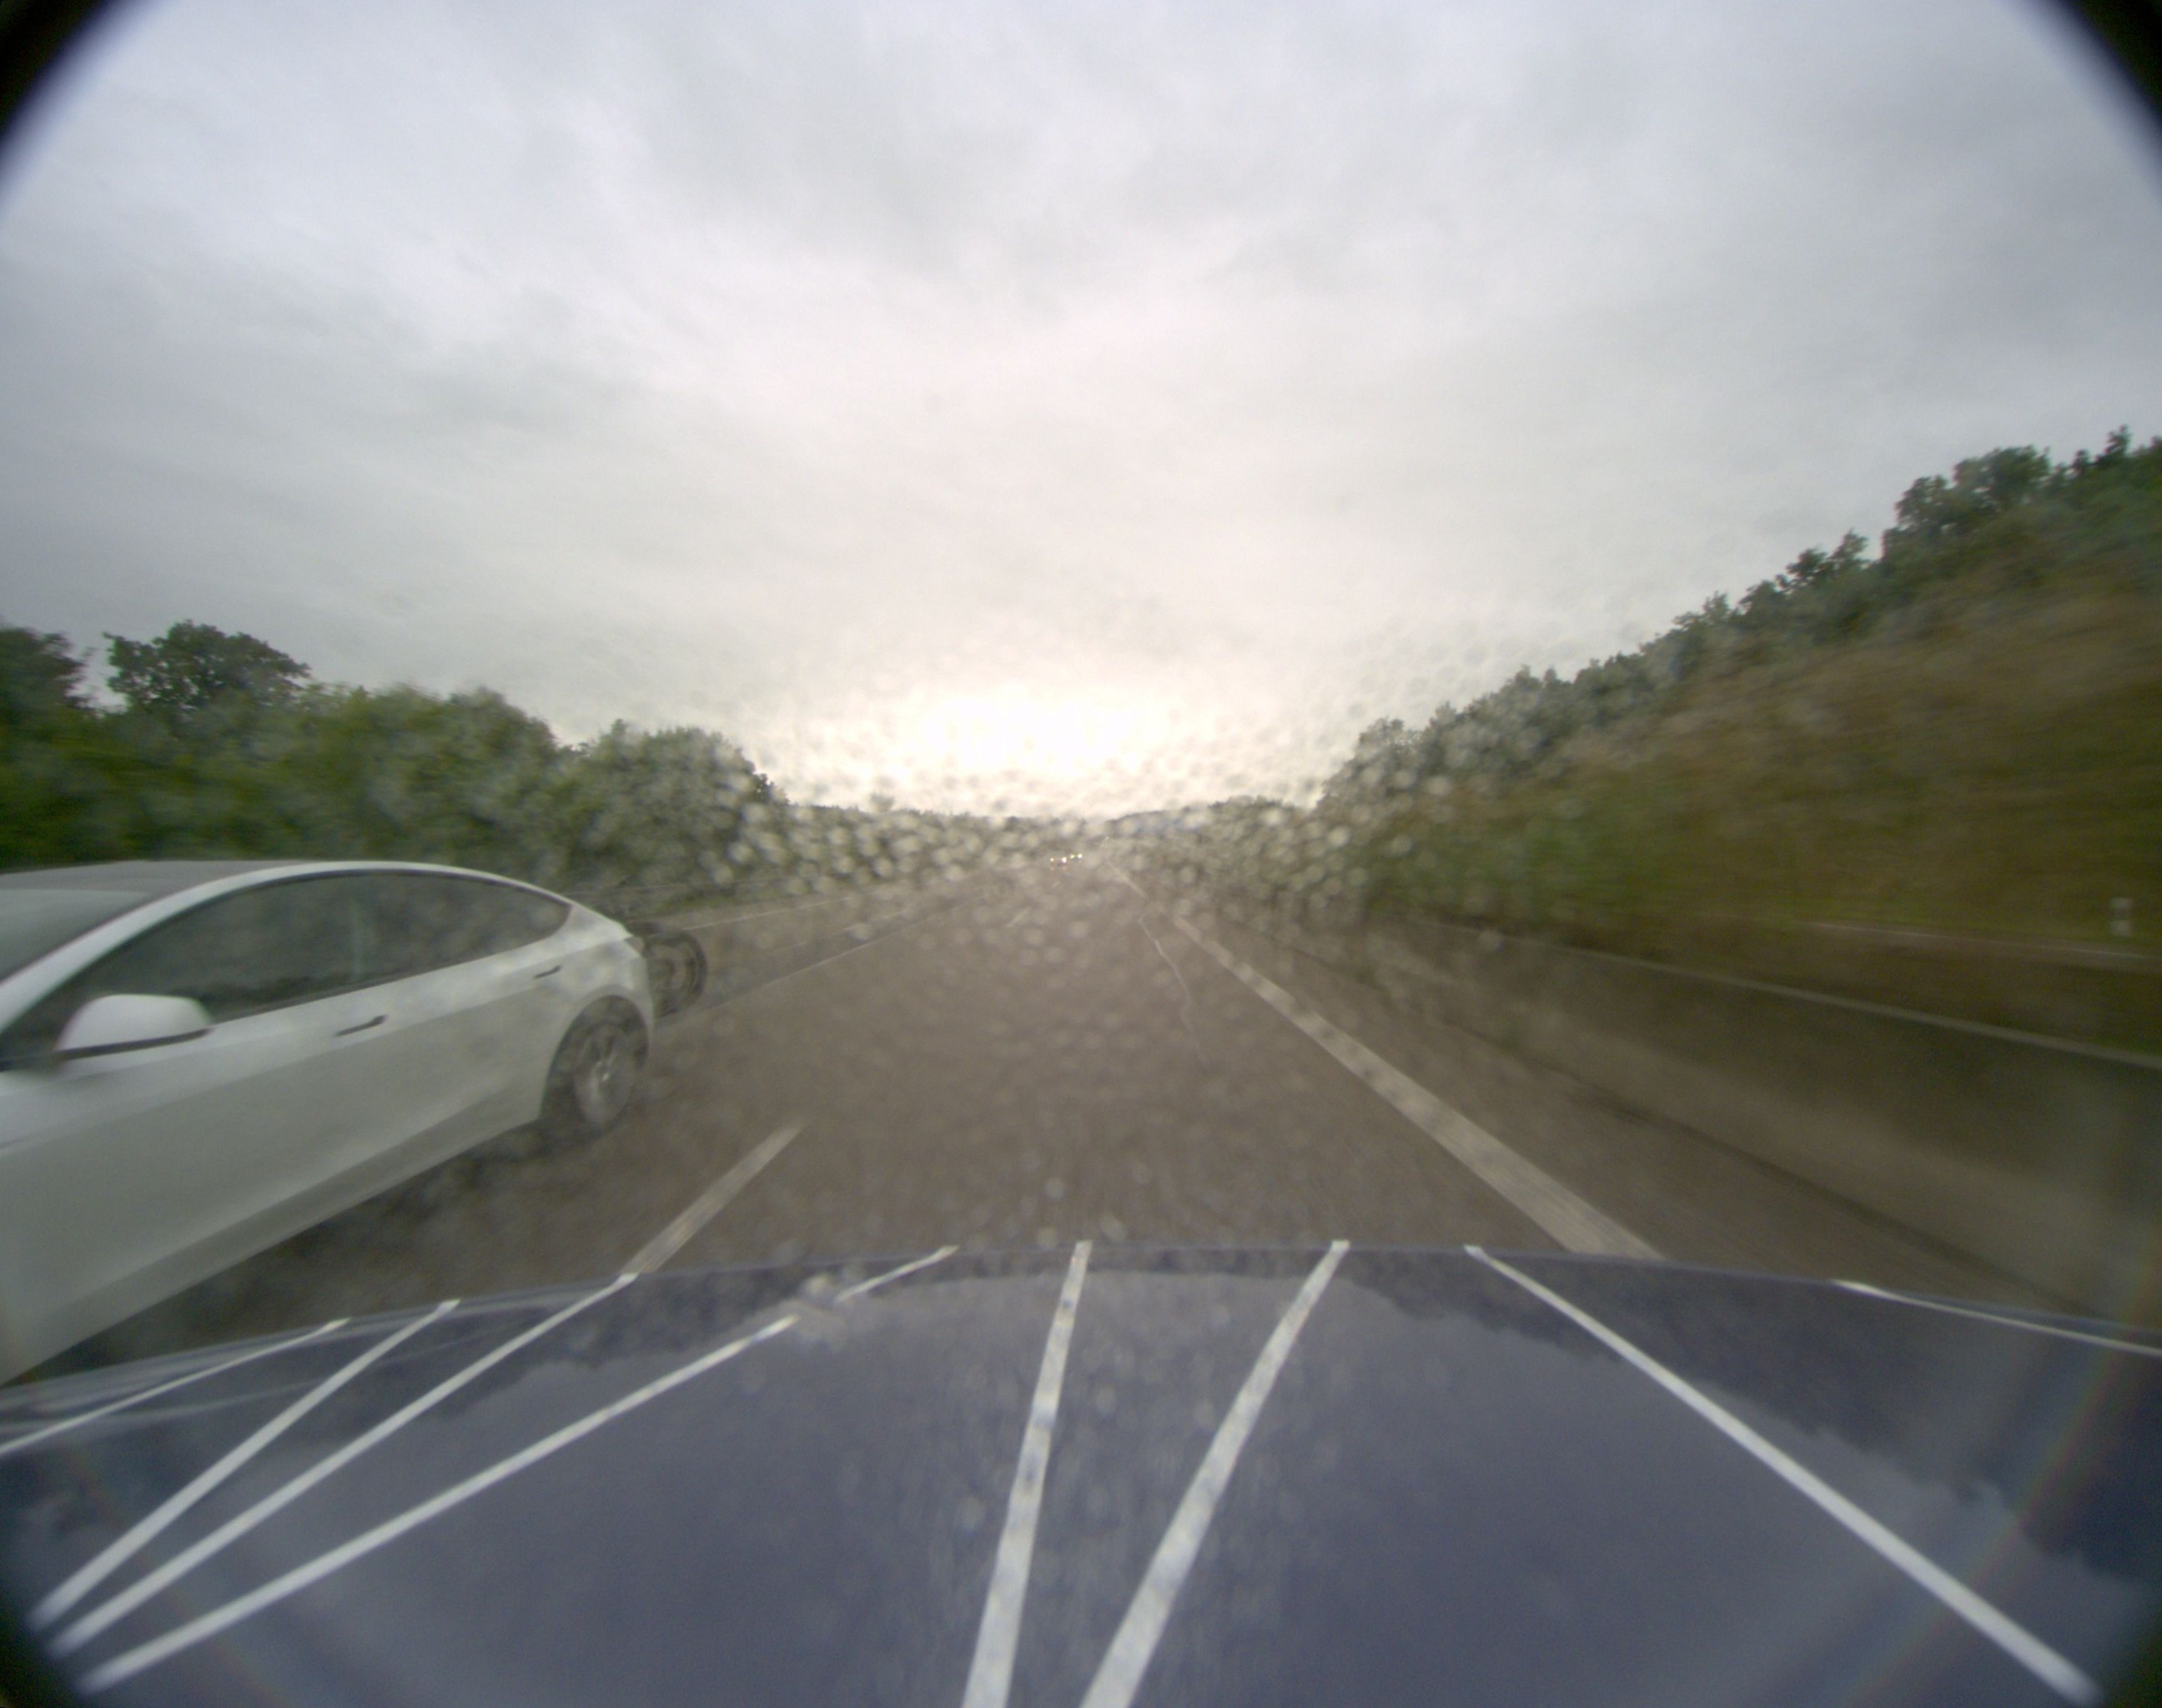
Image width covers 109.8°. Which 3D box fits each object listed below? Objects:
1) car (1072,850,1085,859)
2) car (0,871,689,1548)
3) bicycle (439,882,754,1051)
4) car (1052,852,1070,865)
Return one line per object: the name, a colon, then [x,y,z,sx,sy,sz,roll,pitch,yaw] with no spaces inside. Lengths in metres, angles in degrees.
car: [-0.446,0.089,140.824,2.008,1.456,4.001,0,2,6]
car: [-3.619,0.948,2.668,1.865,1.559,4.963,-2,1,0]
bicycle: [-3.581,0.809,5.777,1.758,1.084,0.913,-1,2,0]
car: [-2.252,0.512,87.320,1.932,1.521,4.297,0,0,1]
